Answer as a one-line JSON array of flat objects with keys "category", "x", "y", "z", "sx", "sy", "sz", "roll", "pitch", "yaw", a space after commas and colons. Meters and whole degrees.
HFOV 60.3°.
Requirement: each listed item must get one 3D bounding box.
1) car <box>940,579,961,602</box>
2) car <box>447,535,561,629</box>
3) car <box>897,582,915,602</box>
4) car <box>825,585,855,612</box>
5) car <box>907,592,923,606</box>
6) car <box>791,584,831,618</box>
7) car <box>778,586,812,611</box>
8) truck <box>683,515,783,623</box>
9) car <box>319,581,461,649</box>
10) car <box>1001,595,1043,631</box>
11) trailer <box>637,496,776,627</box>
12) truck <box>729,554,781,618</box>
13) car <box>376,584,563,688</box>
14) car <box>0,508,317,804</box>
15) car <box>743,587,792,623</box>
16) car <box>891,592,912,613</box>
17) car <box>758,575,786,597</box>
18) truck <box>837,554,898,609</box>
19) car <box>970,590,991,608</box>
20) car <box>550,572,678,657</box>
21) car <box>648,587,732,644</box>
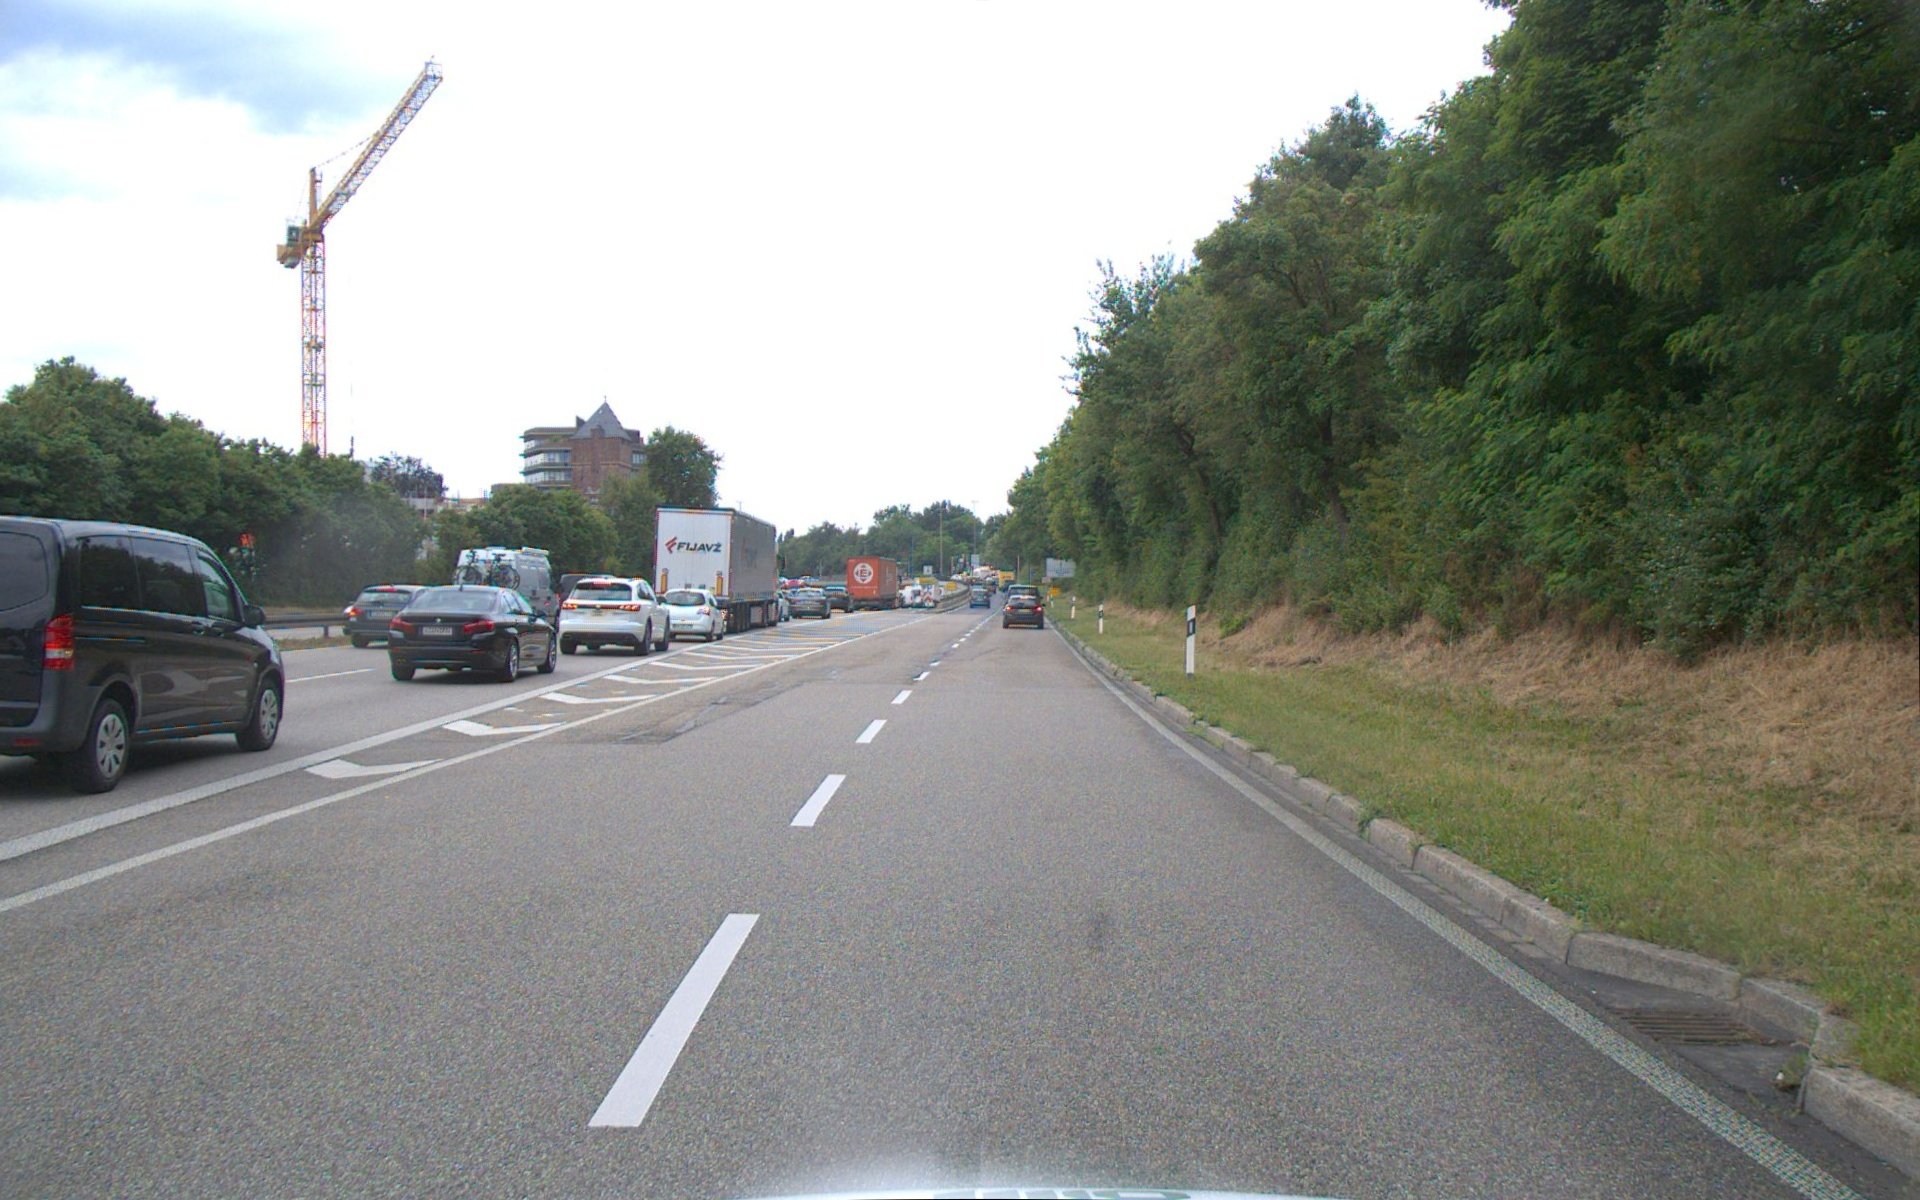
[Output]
[{"category": "car", "x": -0.915, "y": -0.856, "z": 152.794, "sx": 1.911, "sy": 2.049, "sz": 3.999, "roll": 0, "pitch": 0, "yaw": -1}, {"category": "car", "x": -13.348, "y": -0.518, "z": 48.754, "sx": 1.953, "sy": 2.598, "sz": 5.361, "roll": 0, "pitch": 0, "yaw": -1}, {"category": "car", "x": -5.470, "y": -0.787, "z": 166.991, "sx": 1.581, "sy": 1.982, "sz": 3.705, "roll": 1, "pitch": 0, "yaw": 1}, {"category": "car", "x": -8.036, "y": -0.071, "z": 110.822, "sx": 1.682, "sy": 1.713, "sz": 4.000, "roll": 1, "pitch": 0, "yaw": 0}, {"category": "car", "x": -4.982, "y": -0.112, "z": 182.986, "sx": 1.742, "sy": 1.508, "sz": 3.998, "roll": 0, "pitch": 0, "yaw": -2}, {"category": "car", "x": -7.867, "y": 0.046, "z": 87.362, "sx": 1.682, "sy": 1.713, "sz": 4.000, "roll": 1, "pitch": 0, "yaw": 0}, {"category": "car", "x": -11.231, "y": -0.093, "z": 112.833, "sx": 1.821, "sy": 1.646, "sz": 4.000, "roll": 1, "pitch": 0, "yaw": 1}, {"category": "truck", "x": -8.967, "y": -1.147, "z": 66.121, "sx": 3.134, "sy": 4.016, "sz": 7.071, "roll": 1, "pitch": 0, "yaw": -2}, {"category": "car", "x": -13.268, "y": 0.346, "z": 38.817, "sx": 1.678, "sy": 1.473, "sz": 4.701, "roll": 1, "pitch": 0, "yaw": 0}, {"category": "car", "x": 2.714, "y": 0.558, "z": 73.023, "sx": 1.787, "sy": 1.508, "sz": 4.001, "roll": 0, "pitch": 0, "yaw": 1}, {"category": "trailer", "x": -8.796, "y": -1.187, "z": 59.255, "sx": 3.232, "sy": 4.107, "sz": 13.093, "roll": 1, "pitch": 0, "yaw": -2}, {"category": "truck", "x": -14.429, "y": -0.922, "z": 117.269, "sx": 2.683, "sy": 4.211, "sz": 10.692, "roll": 1, "pitch": 0, "yaw": -2}, {"category": "car", "x": -7.824, "y": 0.548, "z": 26.861, "sx": 1.810, "sy": 1.485, "sz": 4.827, "roll": 1, "pitch": 0, "yaw": -3}, {"category": "car", "x": -6.914, "y": 0.359, "z": 13.242, "sx": 1.949, "sy": 1.931, "sz": 4.979, "roll": 1, "pitch": 0, "yaw": -5}, {"category": "car", "x": -9.049, "y": 0.240, "z": 78.014, "sx": 1.763, "sy": 1.632, "sz": 4.257, "roll": 1, "pitch": 0, "yaw": 0}, {"category": "car", "x": -5.545, "y": 0.231, "z": 156.239, "sx": 1.580, "sy": 1.982, "sz": 3.706, "roll": 1, "pitch": 0, "yaw": 3}, {"category": "car", "x": -17.330, "y": -1.280, "z": 152.567, "sx": 1.952, "sy": 2.049, "sz": 4.001, "roll": 0, "pitch": 0, "yaw": 2}, {"category": "truck", "x": -7.206, "y": -1.451, "z": 131.086, "sx": 3.417, "sy": 4.144, "sz": 13.597, "roll": 0, "pitch": 0, "yaw": 3}, {"category": "car", "x": 1.747, "y": -0.105, "z": 143.477, "sx": 1.787, "sy": 1.508, "sz": 4.001, "roll": 0, "pitch": 0, "yaw": 1}, {"category": "car", "x": -7.859, "y": 0.319, "z": 38.033, "sx": 1.917, "sy": 1.724, "sz": 4.864, "roll": 3, "pitch": 0, "yaw": -1}, {"category": "car", "x": -7.736, "y": 0.438, "z": 47.682, "sx": 1.728, "sy": 1.504, "sz": 4.088, "roll": 2, "pitch": 0, "yaw": -1}]
